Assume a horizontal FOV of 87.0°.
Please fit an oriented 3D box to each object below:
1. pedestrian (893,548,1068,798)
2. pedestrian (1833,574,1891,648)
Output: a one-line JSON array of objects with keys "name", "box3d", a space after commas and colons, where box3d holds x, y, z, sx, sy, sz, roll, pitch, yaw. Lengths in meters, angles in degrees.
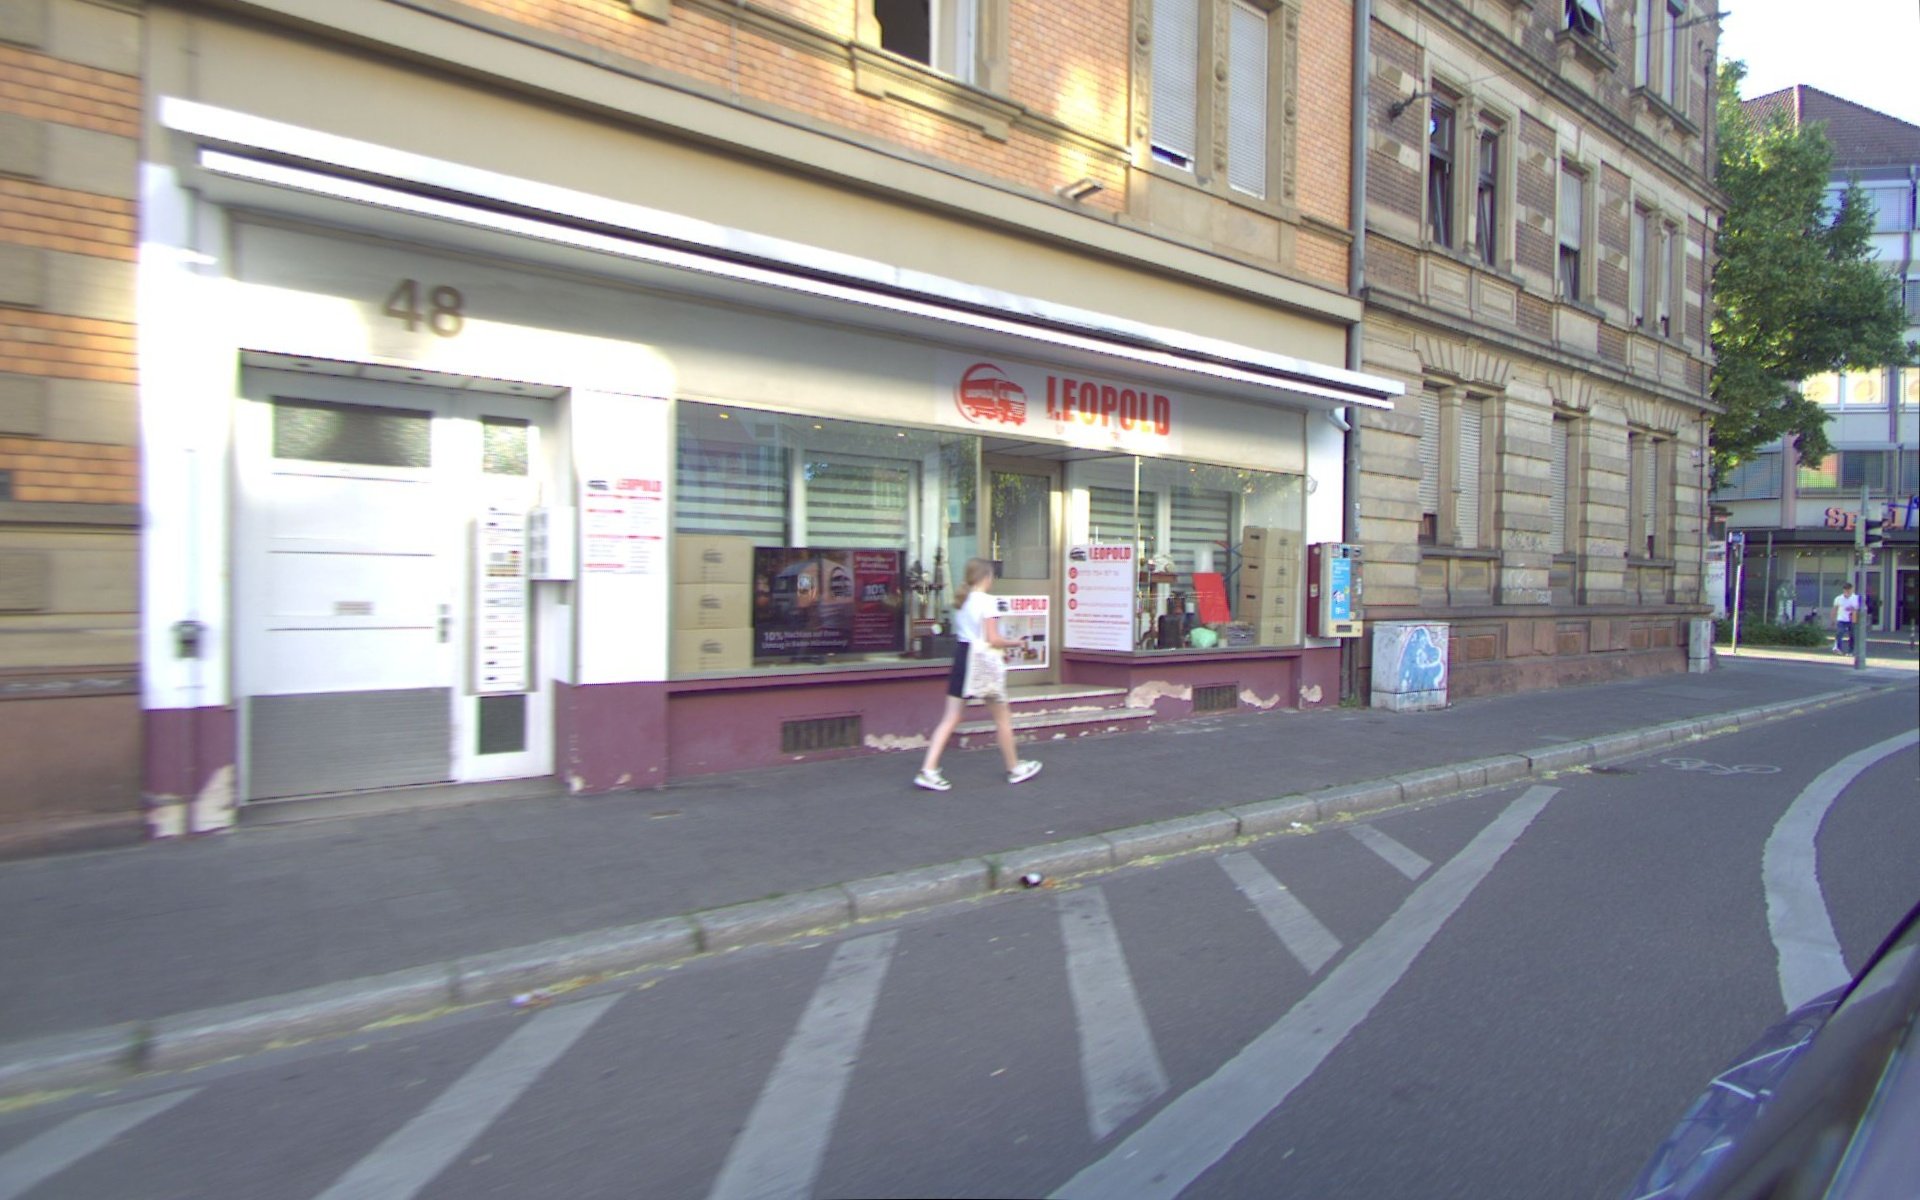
[{"name": "pedestrian", "box3d": [0.131, 0.448, 7.033, 0.896, 1.586, 0.779, 0, 4, -33]}, {"name": "pedestrian", "box3d": [21.089, 0.246, 23.664, 1.013, 1.687, 0.786, 2, -1, -34]}]
